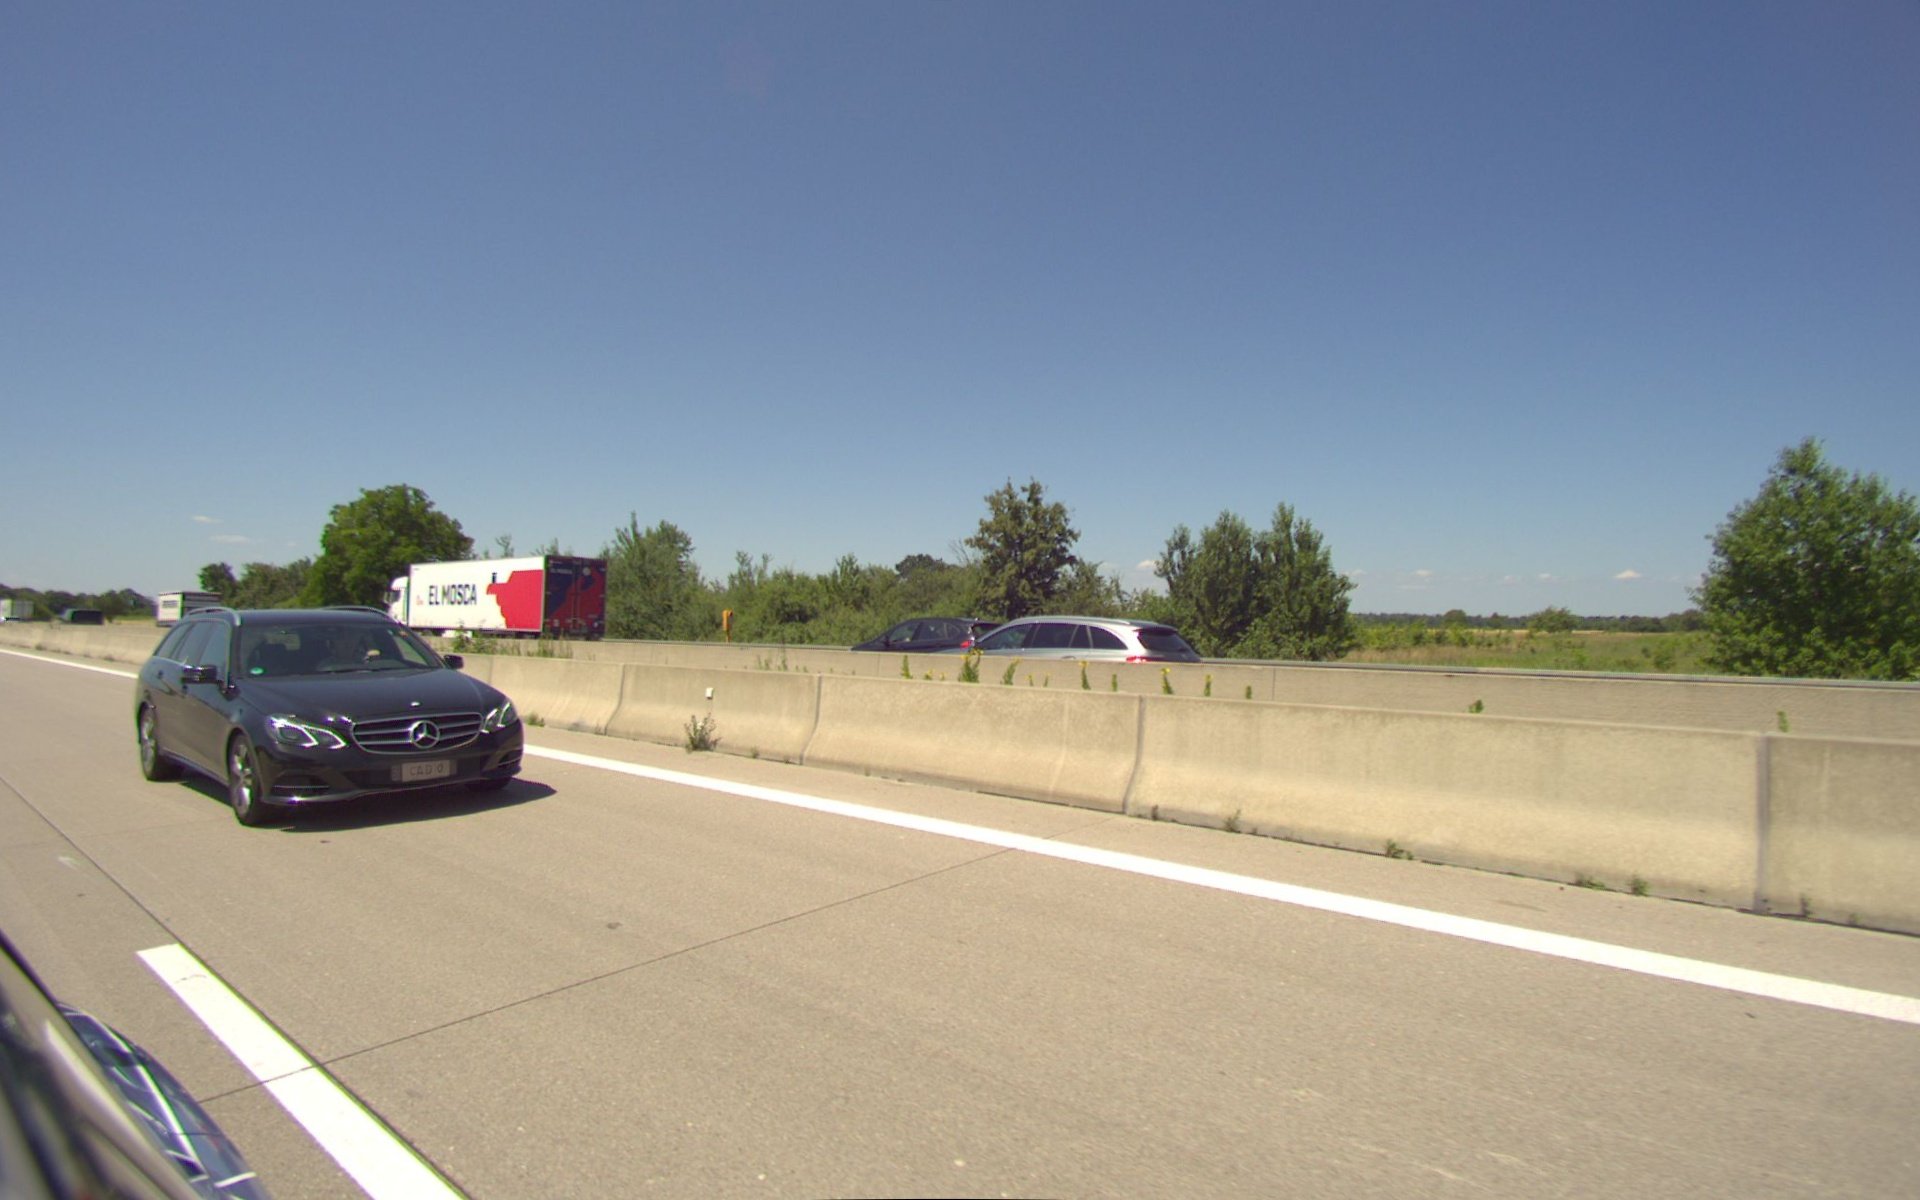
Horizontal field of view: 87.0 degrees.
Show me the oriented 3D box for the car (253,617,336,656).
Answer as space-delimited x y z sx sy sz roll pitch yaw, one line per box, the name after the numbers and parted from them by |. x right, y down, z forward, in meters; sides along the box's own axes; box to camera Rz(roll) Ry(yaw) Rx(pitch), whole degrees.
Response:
-25.575 1.363 38.839 3.806 1.411 1.722 -1 -2 41 | car

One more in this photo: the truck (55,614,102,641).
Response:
-58.564 1.800 67.224 3.948 1.774 1.842 -1 -2 41 | truck

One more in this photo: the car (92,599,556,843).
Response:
-5.748 0.787 8.739 5.601 1.484 1.871 -1 -2 41 | car

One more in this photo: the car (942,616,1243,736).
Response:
1.721 0.933 13.864 3.806 1.411 1.698 -1 -2 41 | car

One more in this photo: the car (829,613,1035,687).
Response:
-0.689 1.007 21.624 4.544 1.411 1.607 -1 -2 41 | car

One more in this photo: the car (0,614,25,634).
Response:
-88.879 2.239 94.532 3.948 1.774 1.842 -1 -2 41 | car

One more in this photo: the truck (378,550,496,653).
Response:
-24.900 0.116 48.069 6.659 4.572 2.773 -1 -2 41 | truck

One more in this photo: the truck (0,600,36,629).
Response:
-139.549 2.140 149.538 7.516 4.030 3.523 -1 0 41 | truck

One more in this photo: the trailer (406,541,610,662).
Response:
-19.774 0.159 43.502 13.229 4.572 2.773 -1 -2 42 | trailer

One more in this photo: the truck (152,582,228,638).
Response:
-61.188 0.834 80.361 8.124 4.206 3.198 -1 -2 41 | truck
